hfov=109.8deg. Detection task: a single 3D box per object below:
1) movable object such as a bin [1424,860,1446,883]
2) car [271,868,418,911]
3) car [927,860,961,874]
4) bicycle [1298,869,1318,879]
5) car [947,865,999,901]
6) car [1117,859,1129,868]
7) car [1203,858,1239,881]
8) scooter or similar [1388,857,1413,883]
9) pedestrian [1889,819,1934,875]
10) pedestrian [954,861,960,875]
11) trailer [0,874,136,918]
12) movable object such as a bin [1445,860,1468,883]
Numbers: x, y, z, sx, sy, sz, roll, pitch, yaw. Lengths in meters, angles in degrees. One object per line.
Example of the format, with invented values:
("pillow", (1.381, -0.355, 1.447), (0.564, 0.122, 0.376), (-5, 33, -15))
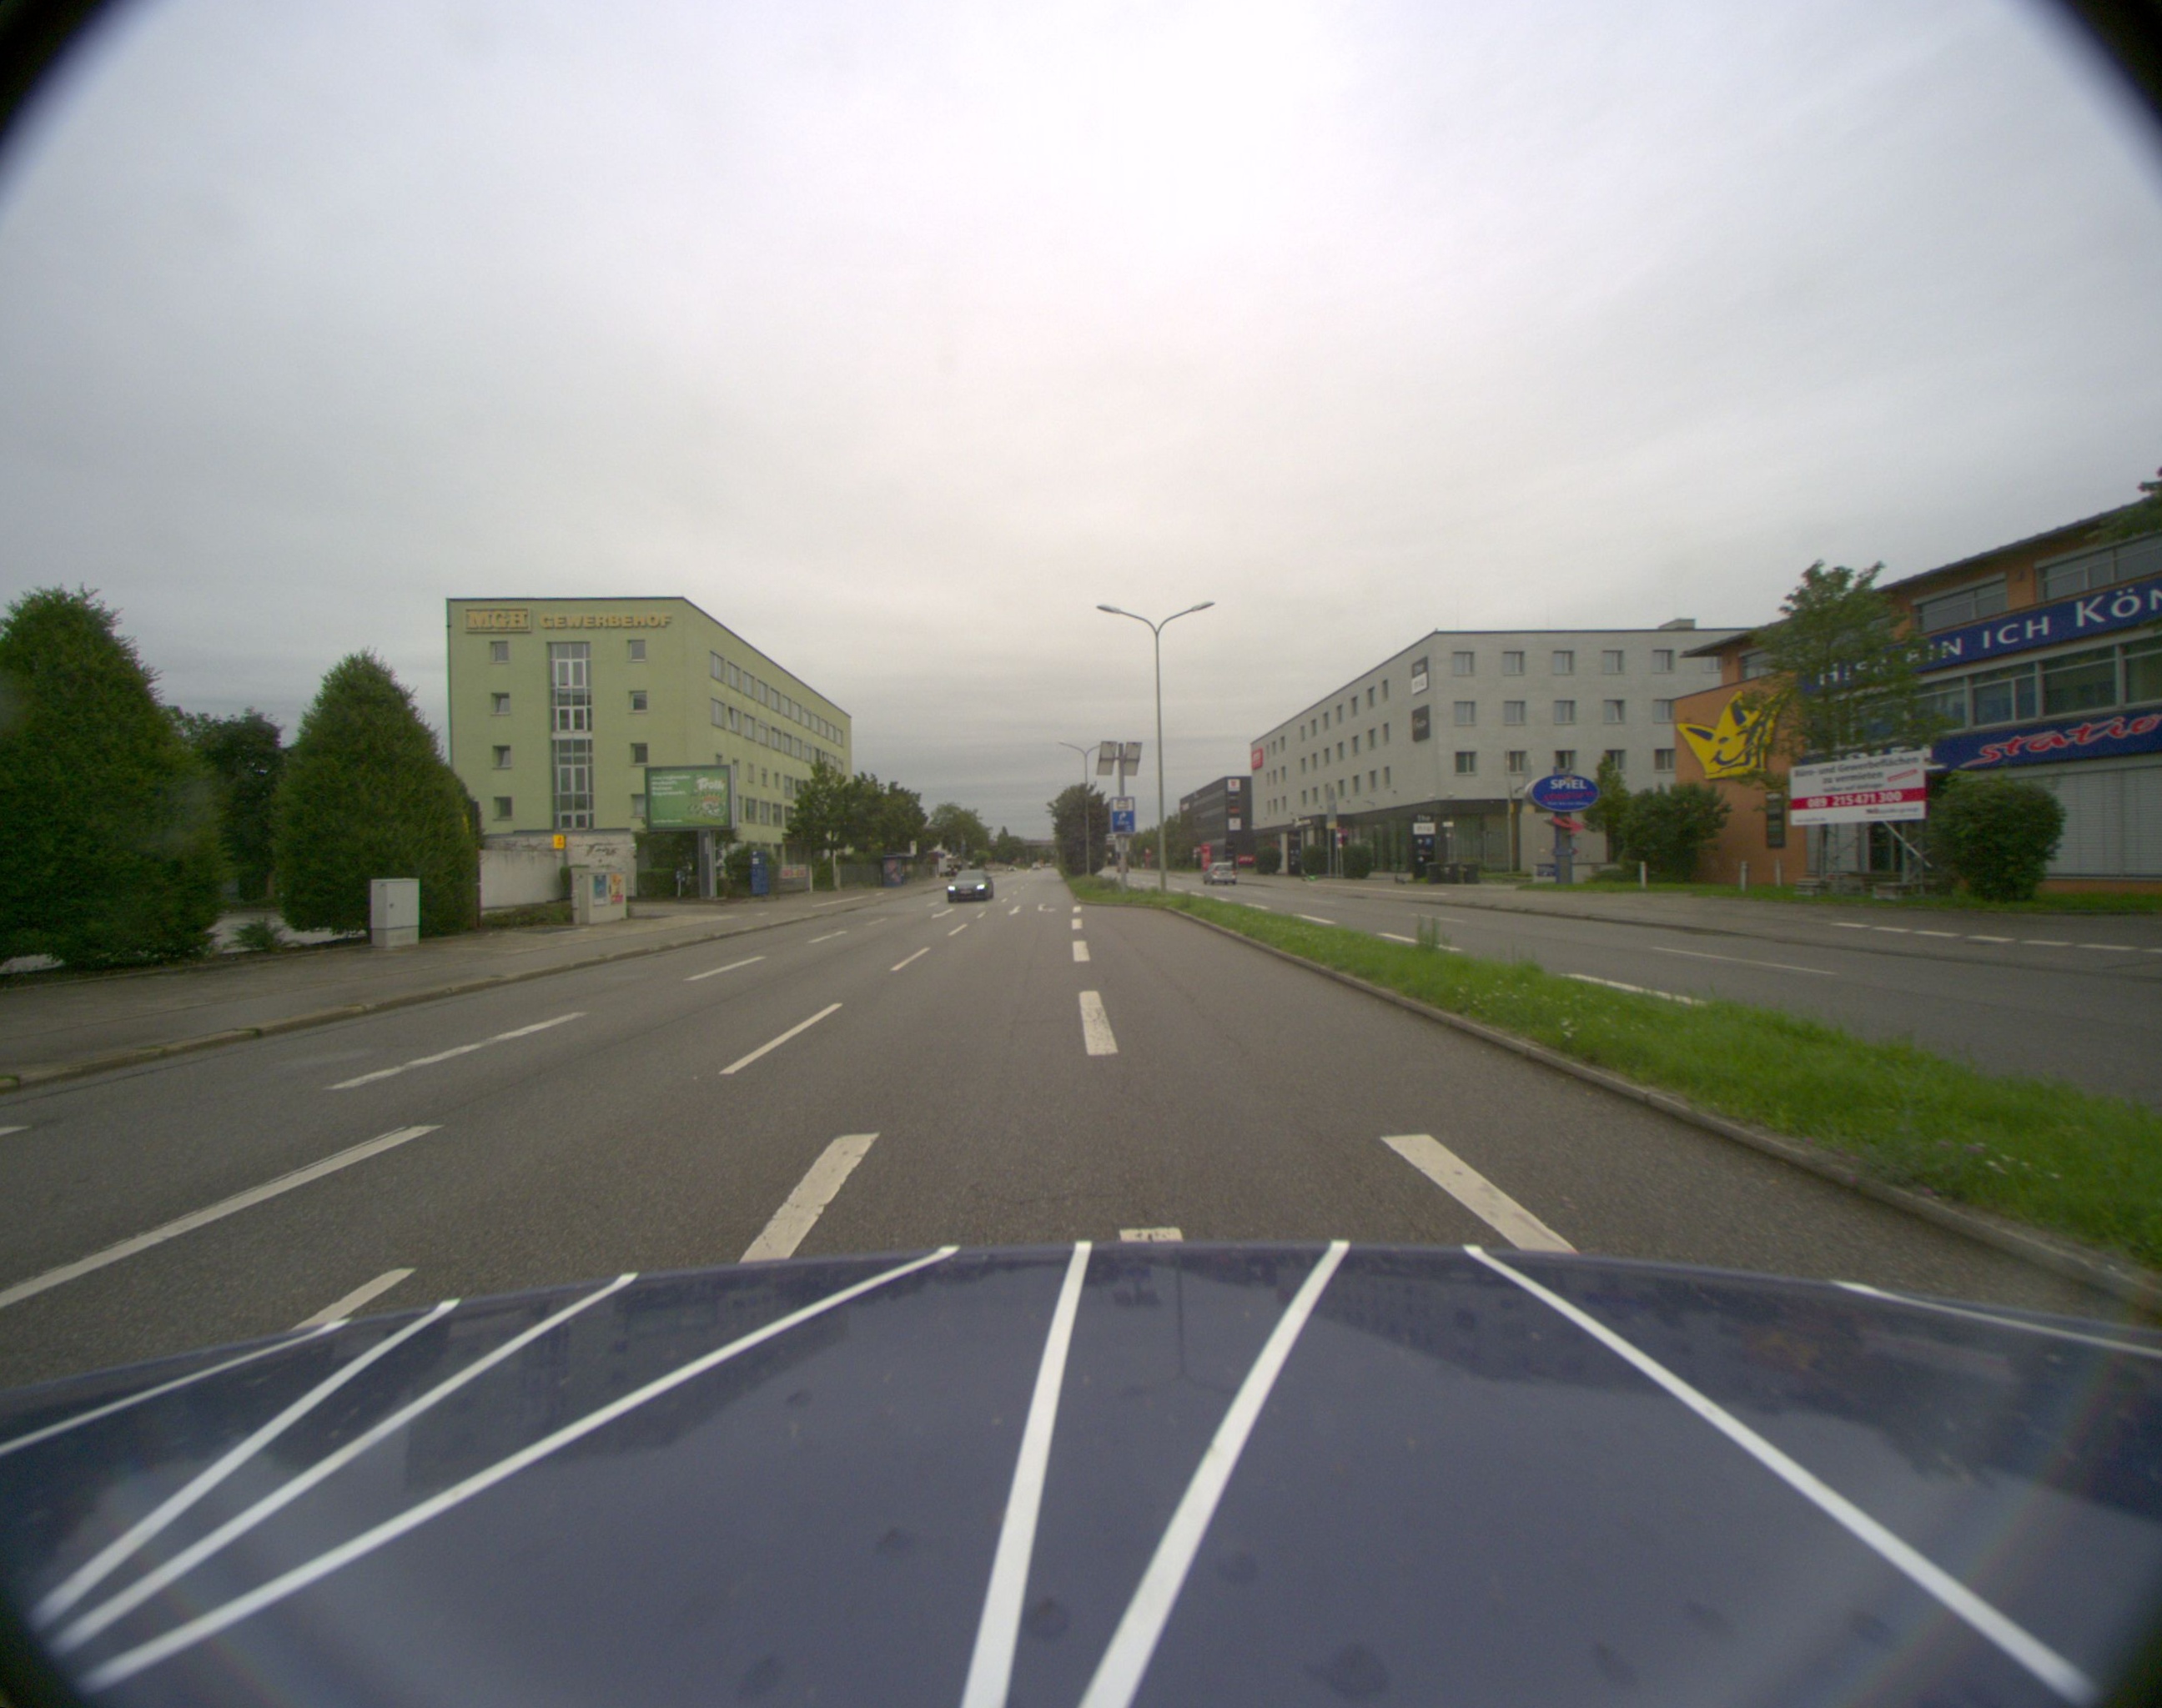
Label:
("movable object such as a bin", (17.291, 0.851, 37.099), (0.739, 1.072, 0.655), (-2, 0, -1))
("car", (-28.430, 1.325, 29.513), (1.830, 1.430, 3.999), (-2, 0, -2))
("car", (-20.677, 1.916, 114.704), (4.652, 1.831, 1.798), (-2, 0, -25))
("bicycle", (14.905, 1.304, 49.901), (0.721, 0.545, 1.732), (-5, 0, -2))
("car", (-5.148, 1.366, 36.888), (1.916, 1.498, 4.439), (-2, 0, -1))
("car", (7.348, 1.610, 133.019), (1.740, 1.539, 4.303), (0, 0, -2))
("car", (10.102, 1.076, 54.955), (1.819, 1.548, 4.026), (0, 0, 0))
("scooter or similar", (16.536, 0.842, 39.366), (0.587, 1.270, 1.403), (-6, 0, -1))
("pedestrian", (26.248, -0.212, 24.017), (0.660, 1.702, 0.662), (-2, 0, 0))
("pedestrian", (-16.591, 1.851, 101.750), (0.683, 1.810, 0.688), (-2, 0, -3))
("trailer", (-43.026, 1.757, 32.151), (3.808, 1.640, 1.635), (-2, 0, -3))
("movable object such as a bin", (17.993, 0.818, 36.437), (0.739, 1.072, 0.655), (-2, 0, -1))
